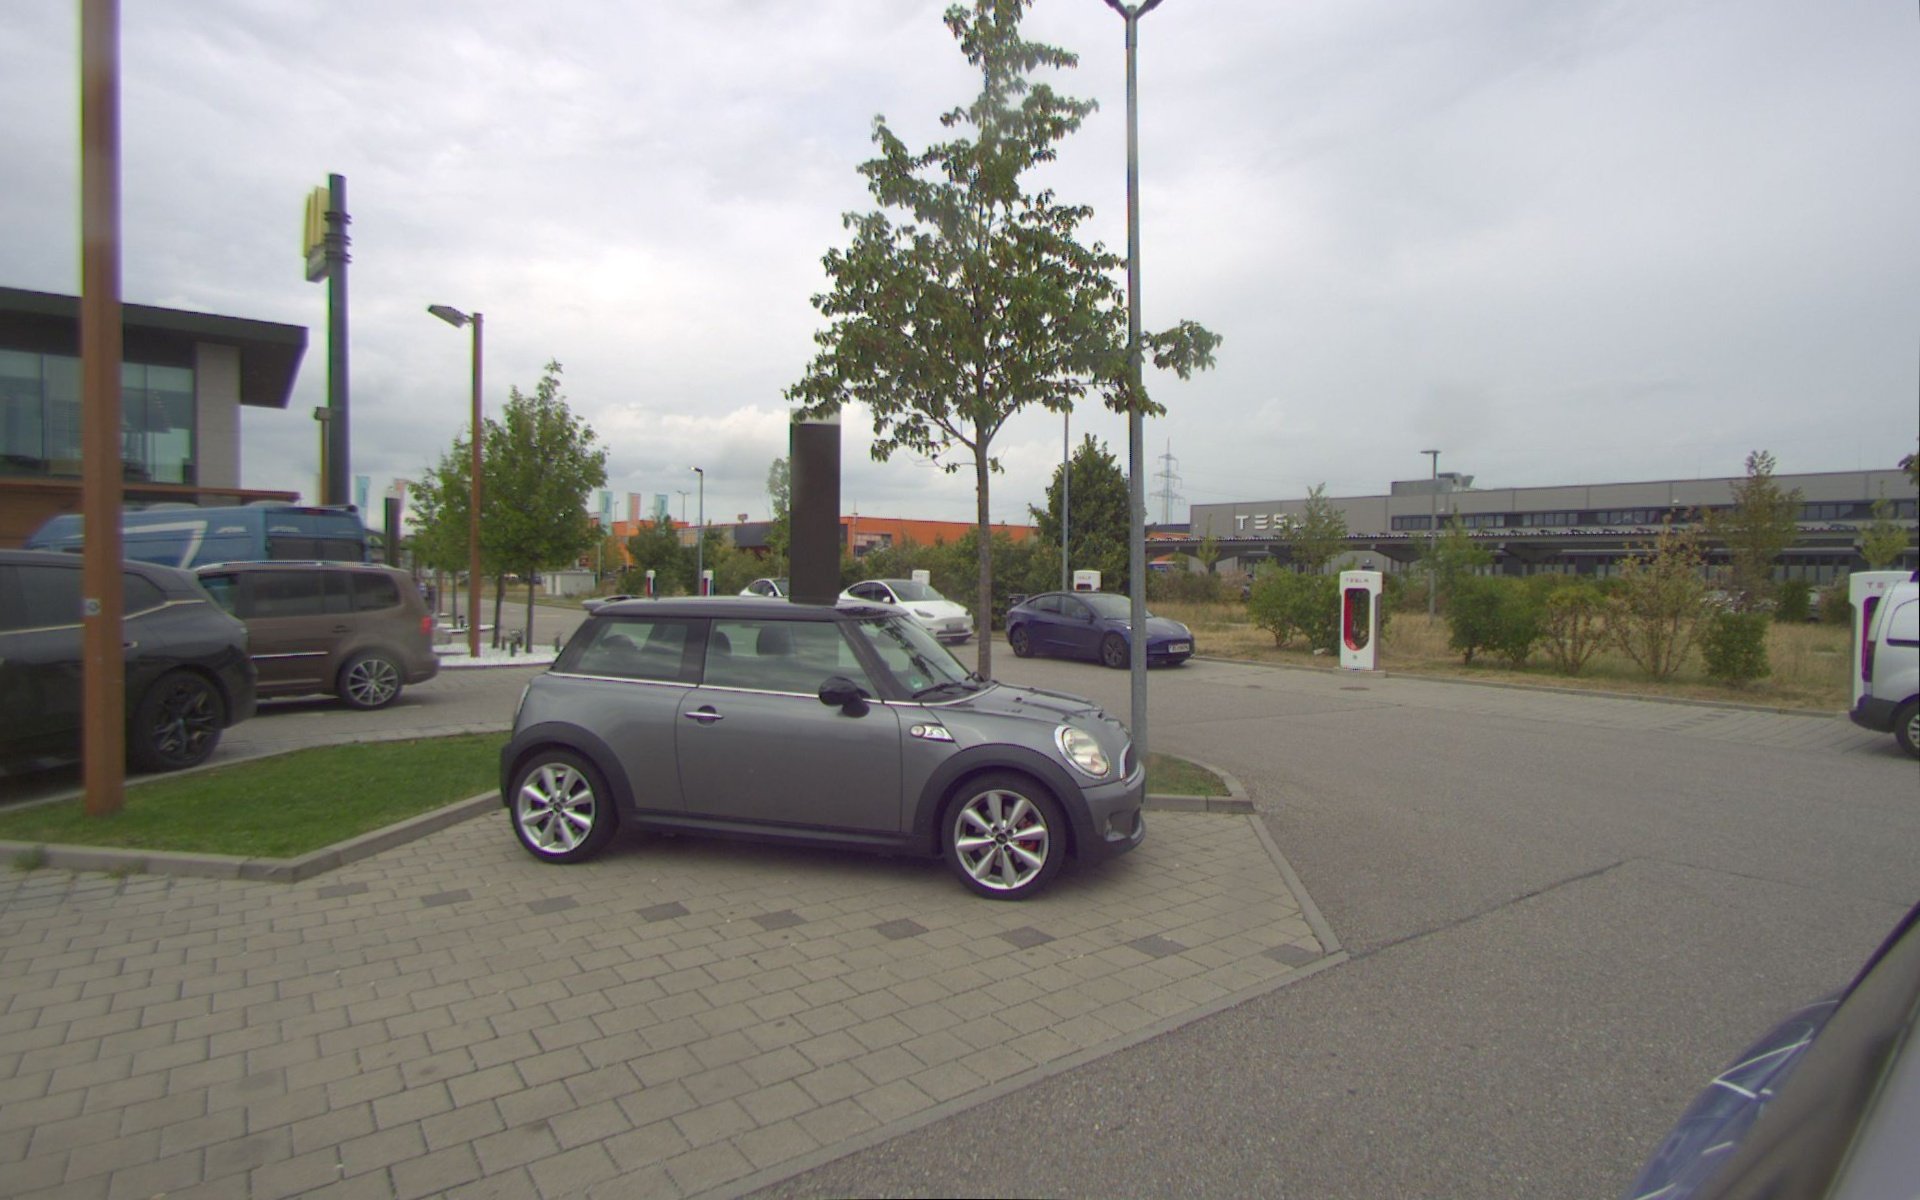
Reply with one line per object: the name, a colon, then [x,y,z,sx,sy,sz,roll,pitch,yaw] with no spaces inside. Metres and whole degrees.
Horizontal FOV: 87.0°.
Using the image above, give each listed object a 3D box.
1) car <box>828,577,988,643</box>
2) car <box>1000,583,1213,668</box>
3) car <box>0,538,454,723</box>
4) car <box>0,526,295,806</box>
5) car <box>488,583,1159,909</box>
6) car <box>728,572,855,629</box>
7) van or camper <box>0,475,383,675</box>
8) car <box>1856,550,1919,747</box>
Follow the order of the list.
car: [-1.459,0.184,26.619,2.035,1.573,4.475,-1,2,-38]
car: [2.862,0.422,20.723,1.799,1.477,4.458,-1,2,-34]
car: [-8.097,0.274,11.206,4.117,1.711,1.808,1,1,-41]
car: [-6.985,0.424,6.435,1.965,1.749,4.889,-1,1,6]
car: [-0.659,0.655,5.815,3.474,1.393,1.603,2,1,13]
car: [-5.497,-0.065,32.423,2.034,1.621,4.945,-1,2,-36]
van or camper: [-12.466,-0.314,15.551,6.471,2.735,2.165,-1,0,12]
car: [11.114,0.537,9.047,1.910,1.912,4.335,1,1,-37]
